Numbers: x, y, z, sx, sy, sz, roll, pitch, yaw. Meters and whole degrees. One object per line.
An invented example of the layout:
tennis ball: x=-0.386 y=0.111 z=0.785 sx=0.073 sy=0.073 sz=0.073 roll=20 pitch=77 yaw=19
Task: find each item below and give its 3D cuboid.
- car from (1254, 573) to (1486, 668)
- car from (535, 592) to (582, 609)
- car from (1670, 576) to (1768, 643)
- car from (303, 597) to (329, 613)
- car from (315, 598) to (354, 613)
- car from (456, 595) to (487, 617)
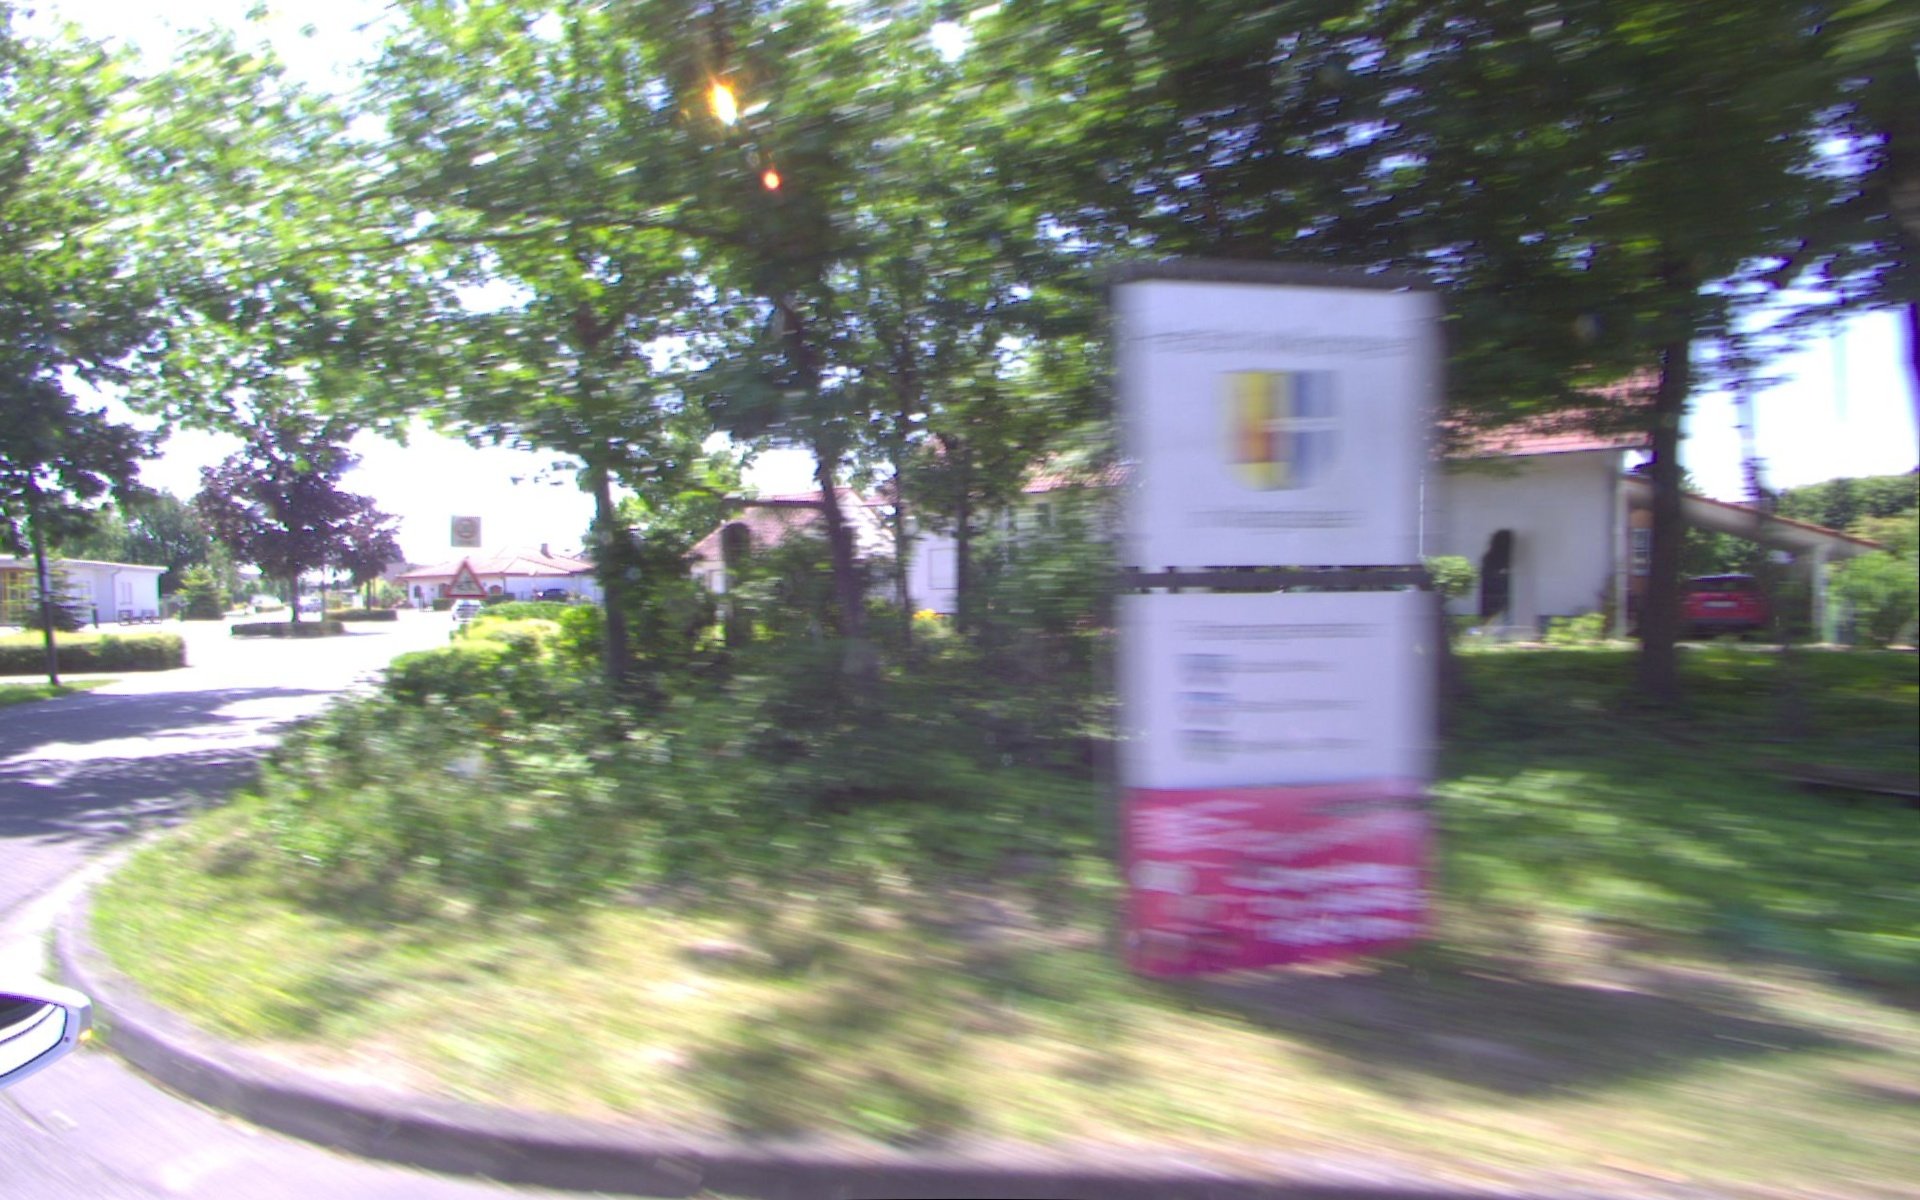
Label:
car: x=8.155 y=0.376 z=20.056 sx=4.085 sy=1.728 sz=1.656 roll=0 pitch=1 yaw=33
car: x=-37.068 y=0.013 z=92.476 sx=1.823 sy=1.563 sz=3.825 roll=0 pitch=0 yaw=23
car: x=17.290 y=0.172 z=22.904 sx=1.662 sy=1.404 sz=3.669 roll=0 pitch=1 yaw=36
car: x=-56.364 y=0.432 z=87.651 sx=1.600 sy=1.305 sz=3.528 roll=-1 pitch=1 yaw=-38
car: x=-56.985 y=0.517 z=91.243 sx=3.955 sy=1.305 sz=1.983 roll=0 pitch=1 yaw=42
car: x=-29.903 y=0.353 z=61.261 sx=1.595 sy=1.305 sz=3.540 roll=-1 pitch=1 yaw=-28
